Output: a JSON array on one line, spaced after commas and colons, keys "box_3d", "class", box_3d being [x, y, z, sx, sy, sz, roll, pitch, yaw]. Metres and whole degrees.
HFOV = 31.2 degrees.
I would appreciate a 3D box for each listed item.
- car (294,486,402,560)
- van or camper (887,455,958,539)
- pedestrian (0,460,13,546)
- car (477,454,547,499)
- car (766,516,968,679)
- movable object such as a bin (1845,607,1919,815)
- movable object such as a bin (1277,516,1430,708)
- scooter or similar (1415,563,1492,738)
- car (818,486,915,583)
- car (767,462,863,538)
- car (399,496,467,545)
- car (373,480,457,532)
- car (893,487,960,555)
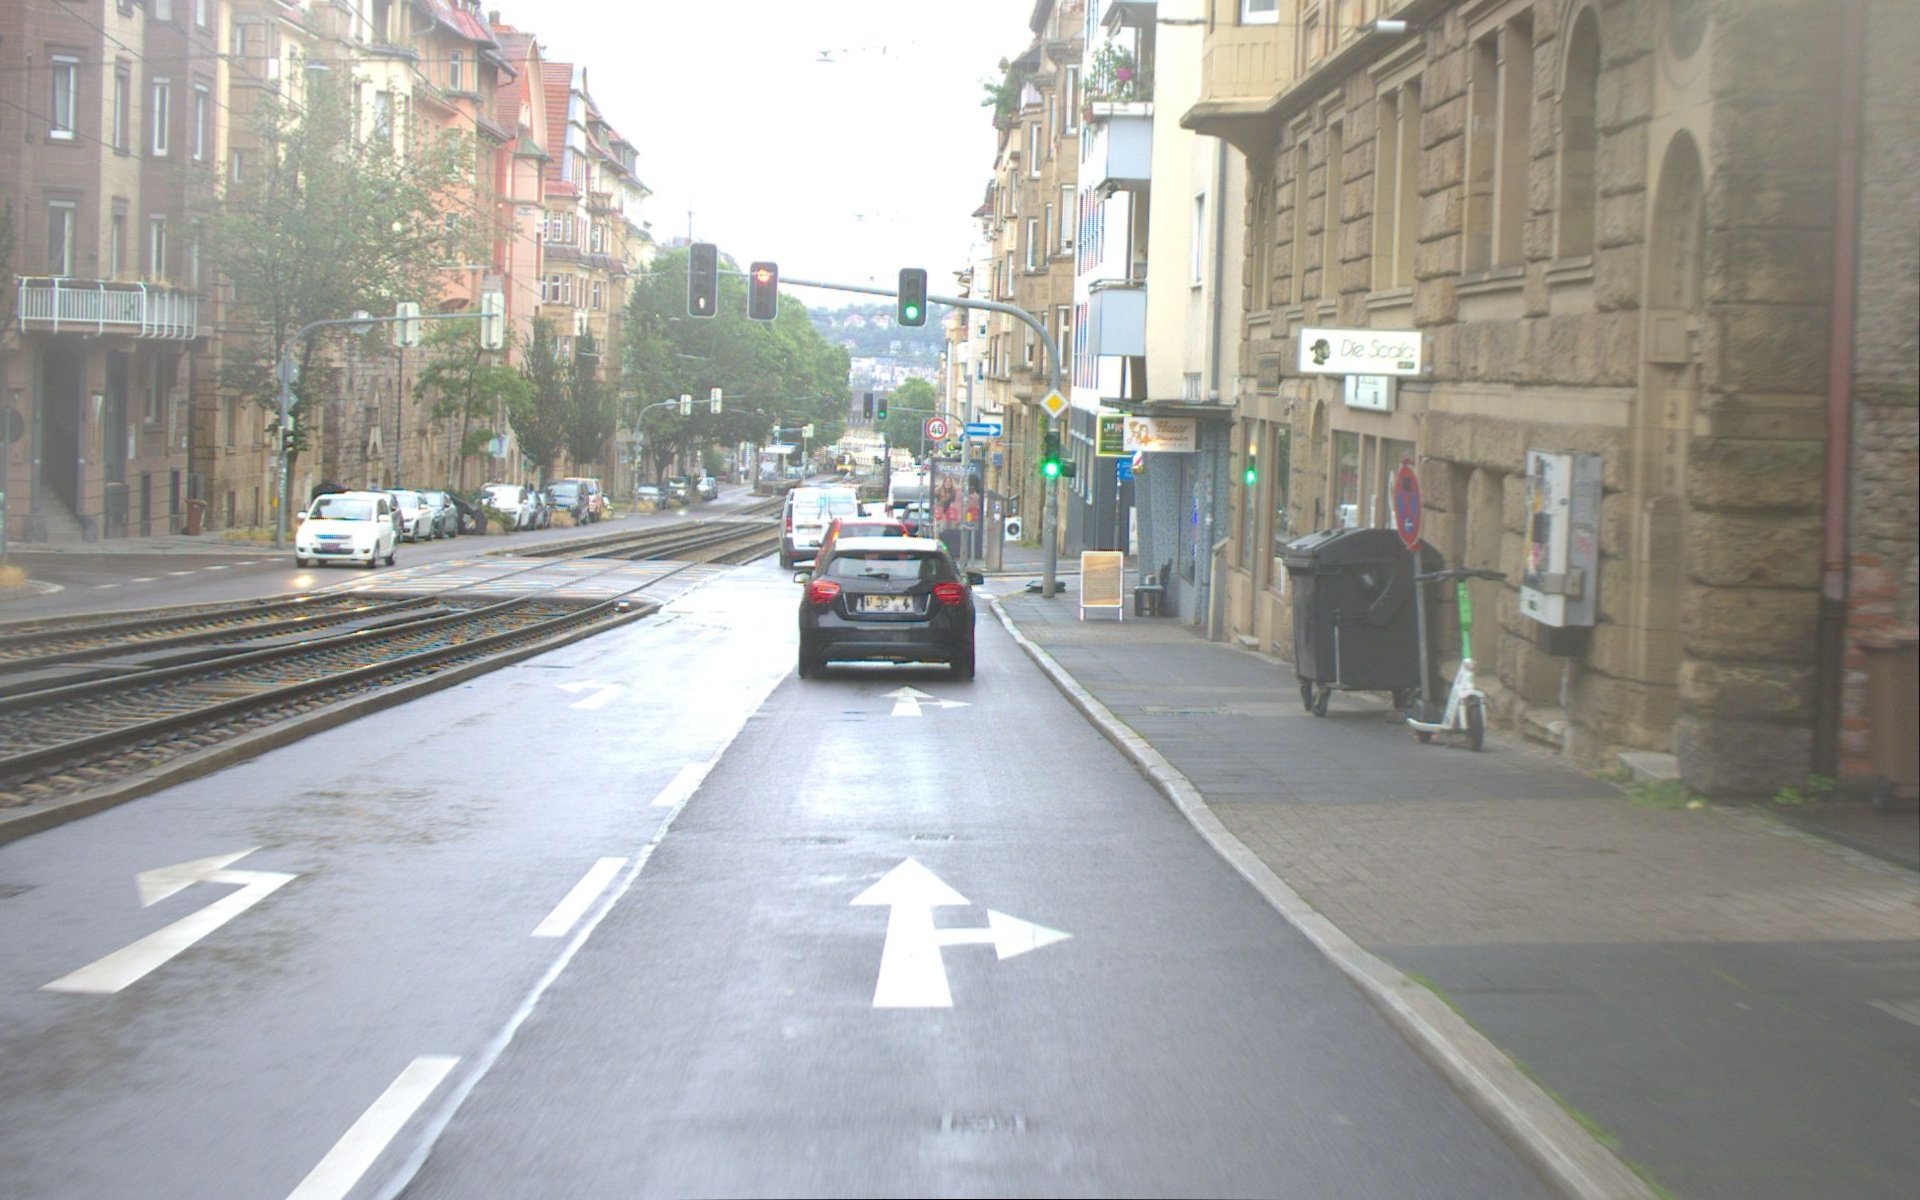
[{"box_3d": [-12.919, -1.636, 72.753, 1.627, 1.477, 3.581, 1, 1, 0], "class": "car"}, {"box_3d": [-1.154, -3.153, 105.614, 2.064, 2.460, 6.119, 1, 2, 0], "class": "van or camper"}, {"box_3d": [-17.646, -1.770, 62.746, 0.517, 1.565, 0.643, 1, 1, 3], "class": "pedestrian"}, {"box_3d": [-16.119, -4.447, 123.840, 1.785, 1.584, 4.351, 1, 2, 2], "class": "car"}, {"box_3d": [-0.969, -0.067, 35.485, 1.946, 1.559, 3.643, 1, 1, -2], "class": "car"}, {"box_3d": [4.775, 0.553, 17.254, 0.501, 1.011, 0.476, 1, 1, -3], "class": "movable object such as a bin"}, {"box_3d": [3.056, 0.078, 26.831, 1.009, 1.446, 1.393, -1, 1, -1], "class": "movable object such as a bin"}, {"box_3d": [3.192, 0.322, 22.267, 0.209, 1.108, 0.892, 0, 0, -10], "class": "scooter or similar"}, {"box_3d": [-1.600, -1.169, 59.886, 1.536, 1.505, 4.001, 2, 3, 0], "class": "car"}, {"box_3d": [-3.415, -2.344, 80.350, 1.921, 1.649, 4.001, 2, 1, -6], "class": "car"}, {"box_3d": [-15.982, -2.423, 104.347, 1.561, 1.433, 4.146, 1, 2, -2], "class": "car"}, {"box_3d": [-15.747, -2.739, 99.556, 1.667, 1.421, 4.263, 2, 2, 1], "class": "car"}, {"box_3d": [-0.958, -2.242, 97.145, 1.768, 1.801, 4.483, 2, 2, -1], "class": "car"}]
